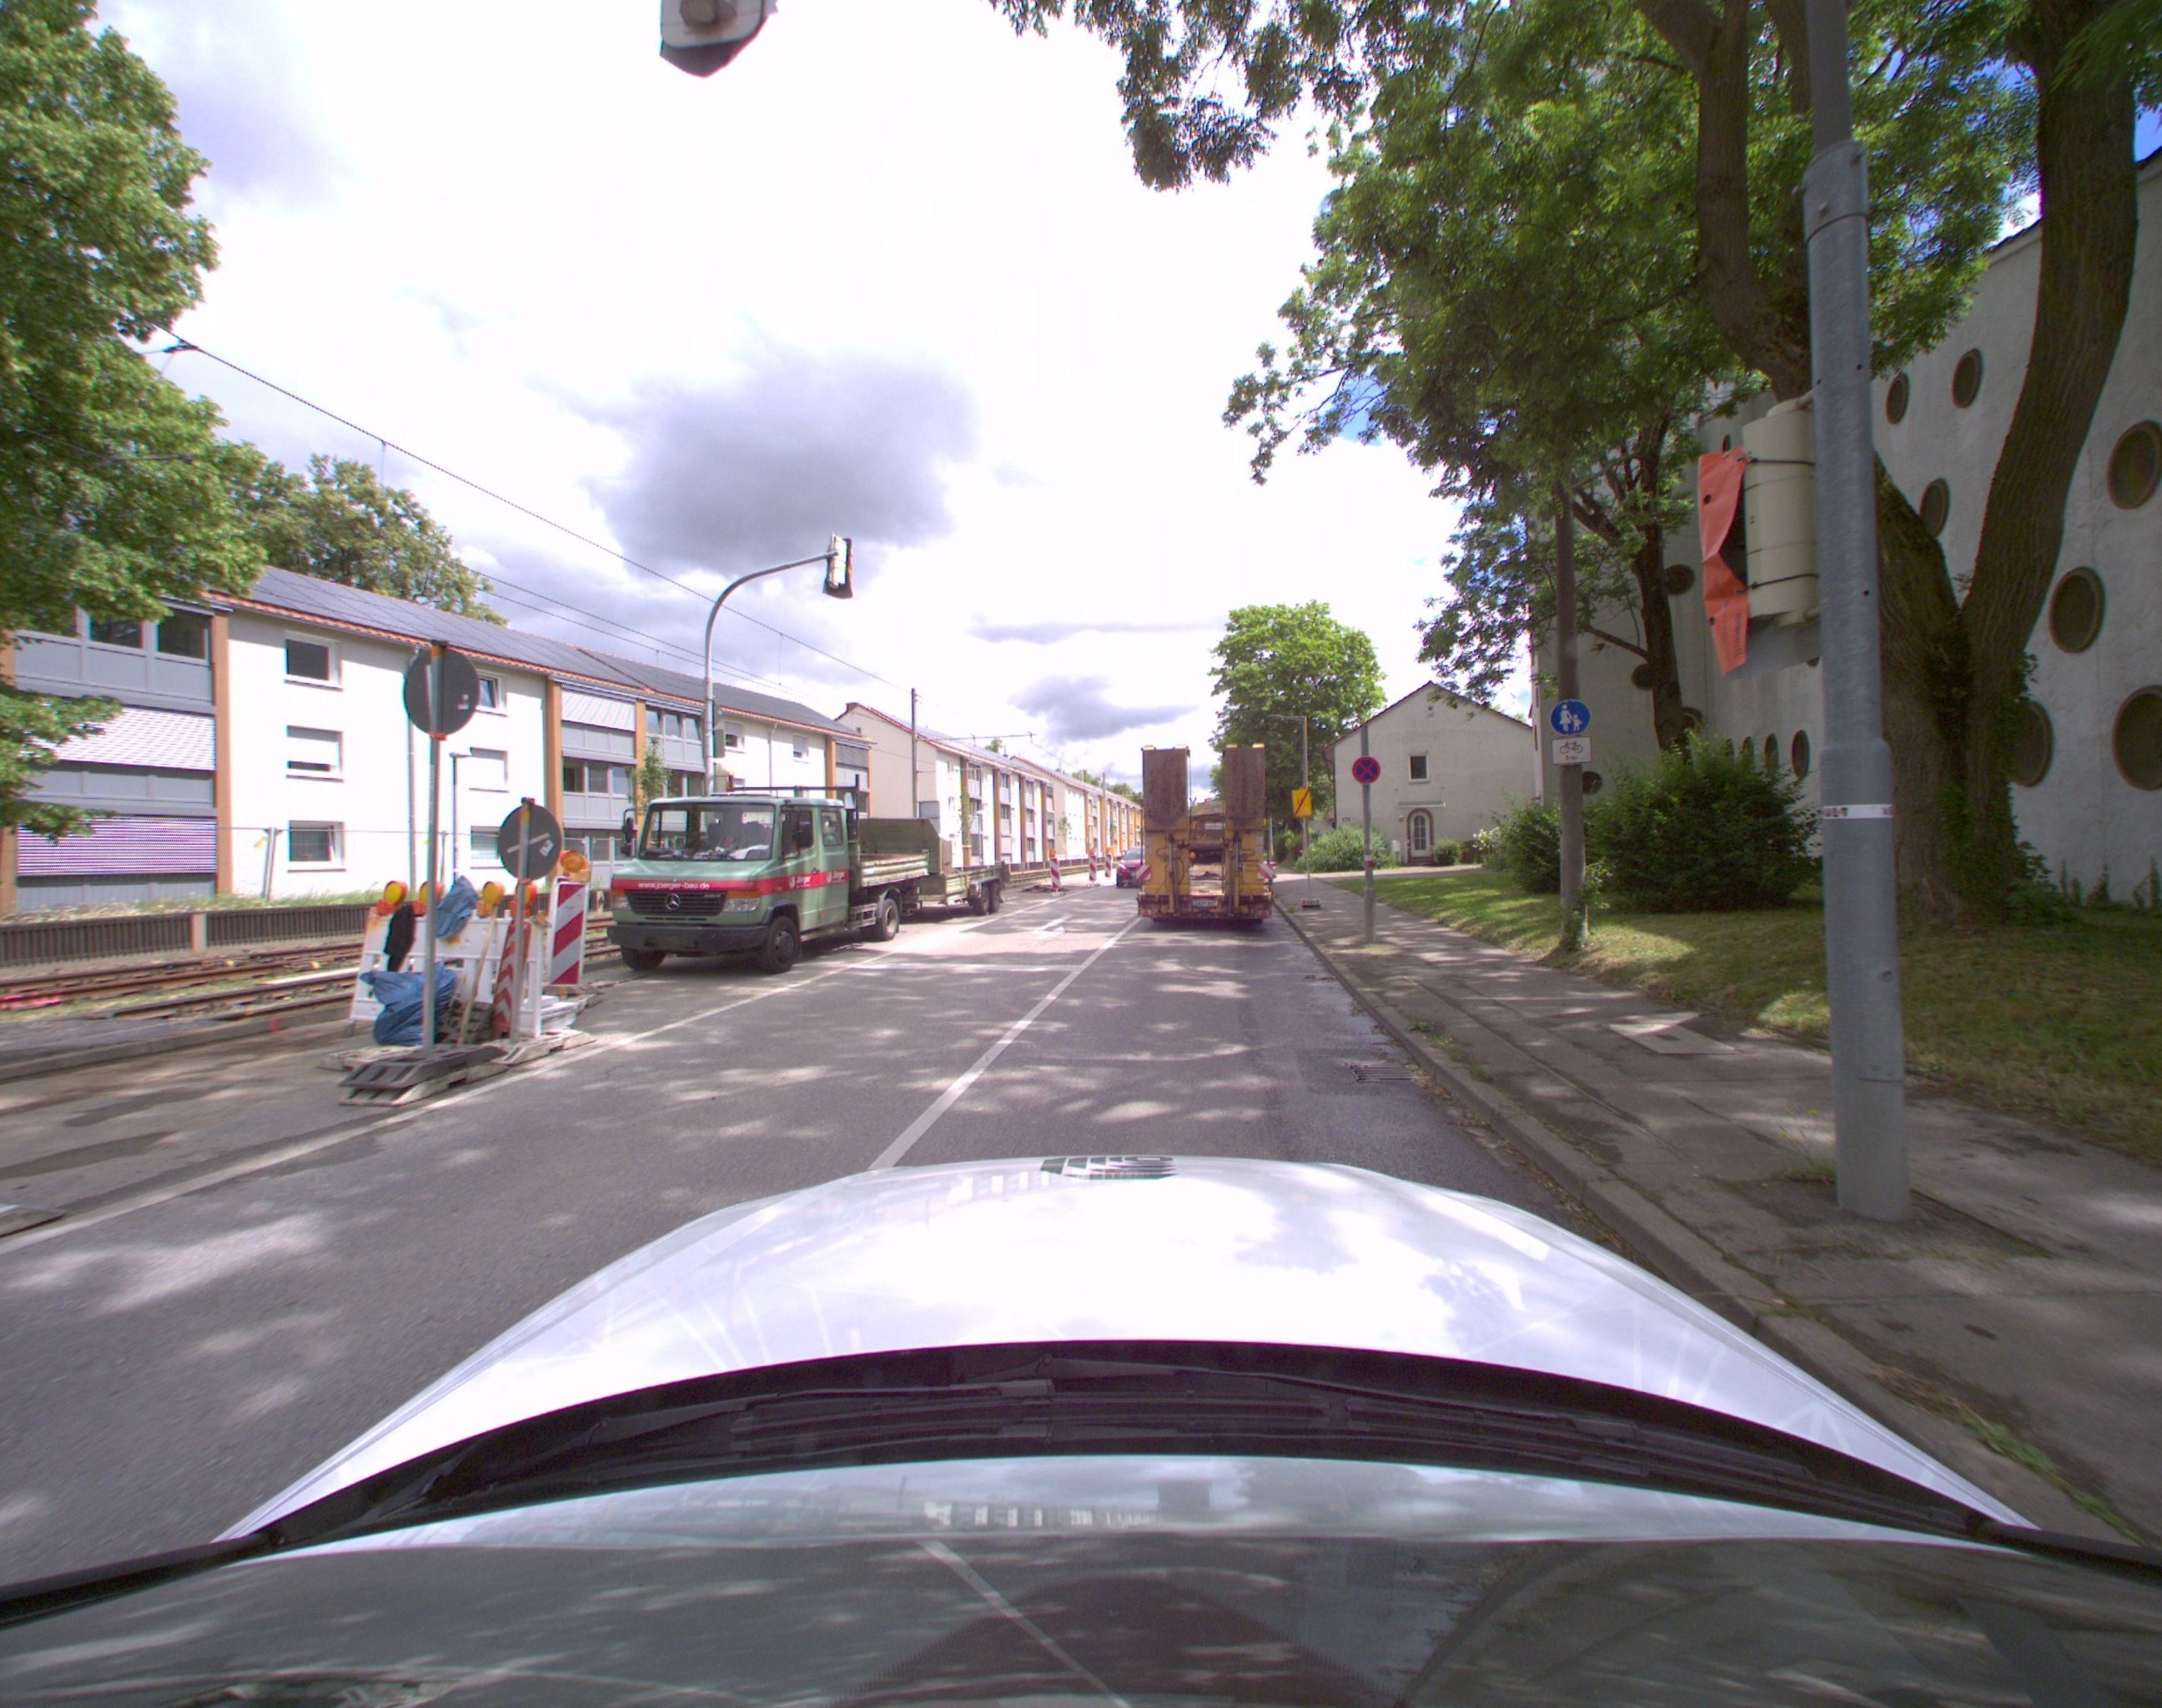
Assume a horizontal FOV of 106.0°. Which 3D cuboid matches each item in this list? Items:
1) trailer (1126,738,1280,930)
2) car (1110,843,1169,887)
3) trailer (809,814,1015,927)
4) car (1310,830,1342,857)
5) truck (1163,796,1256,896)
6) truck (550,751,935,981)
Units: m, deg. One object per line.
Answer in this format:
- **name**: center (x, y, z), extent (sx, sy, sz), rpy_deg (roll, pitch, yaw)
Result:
- **trailer**: center (3.137, -0.409, 20.574), extent (2.806, 3.524, 11.080), rpy_deg (0, 0, 9)
- **car**: center (2.456, 0.410, 33.232), extent (1.831, 1.618, 4.255), rpy_deg (-2, 0, 11)
- **trailer**: center (-3.636, 0.306, 19.264), extent (2.646, 2.214, 6.265), rpy_deg (0, 0, 10)
- **car**: center (16.275, -0.669, 53.898), extent (1.797, 1.649, 4.019), rpy_deg (-2, -1, 19)
- **truck**: center (4.807, -0.292, 29.802), extent (2.899, 3.167, 7.703), rpy_deg (0, 0, 11)
- **truck**: center (-4.719, 0.128, 13.039), extent (2.646, 2.725, 6.413), rpy_deg (0, 0, 10)
